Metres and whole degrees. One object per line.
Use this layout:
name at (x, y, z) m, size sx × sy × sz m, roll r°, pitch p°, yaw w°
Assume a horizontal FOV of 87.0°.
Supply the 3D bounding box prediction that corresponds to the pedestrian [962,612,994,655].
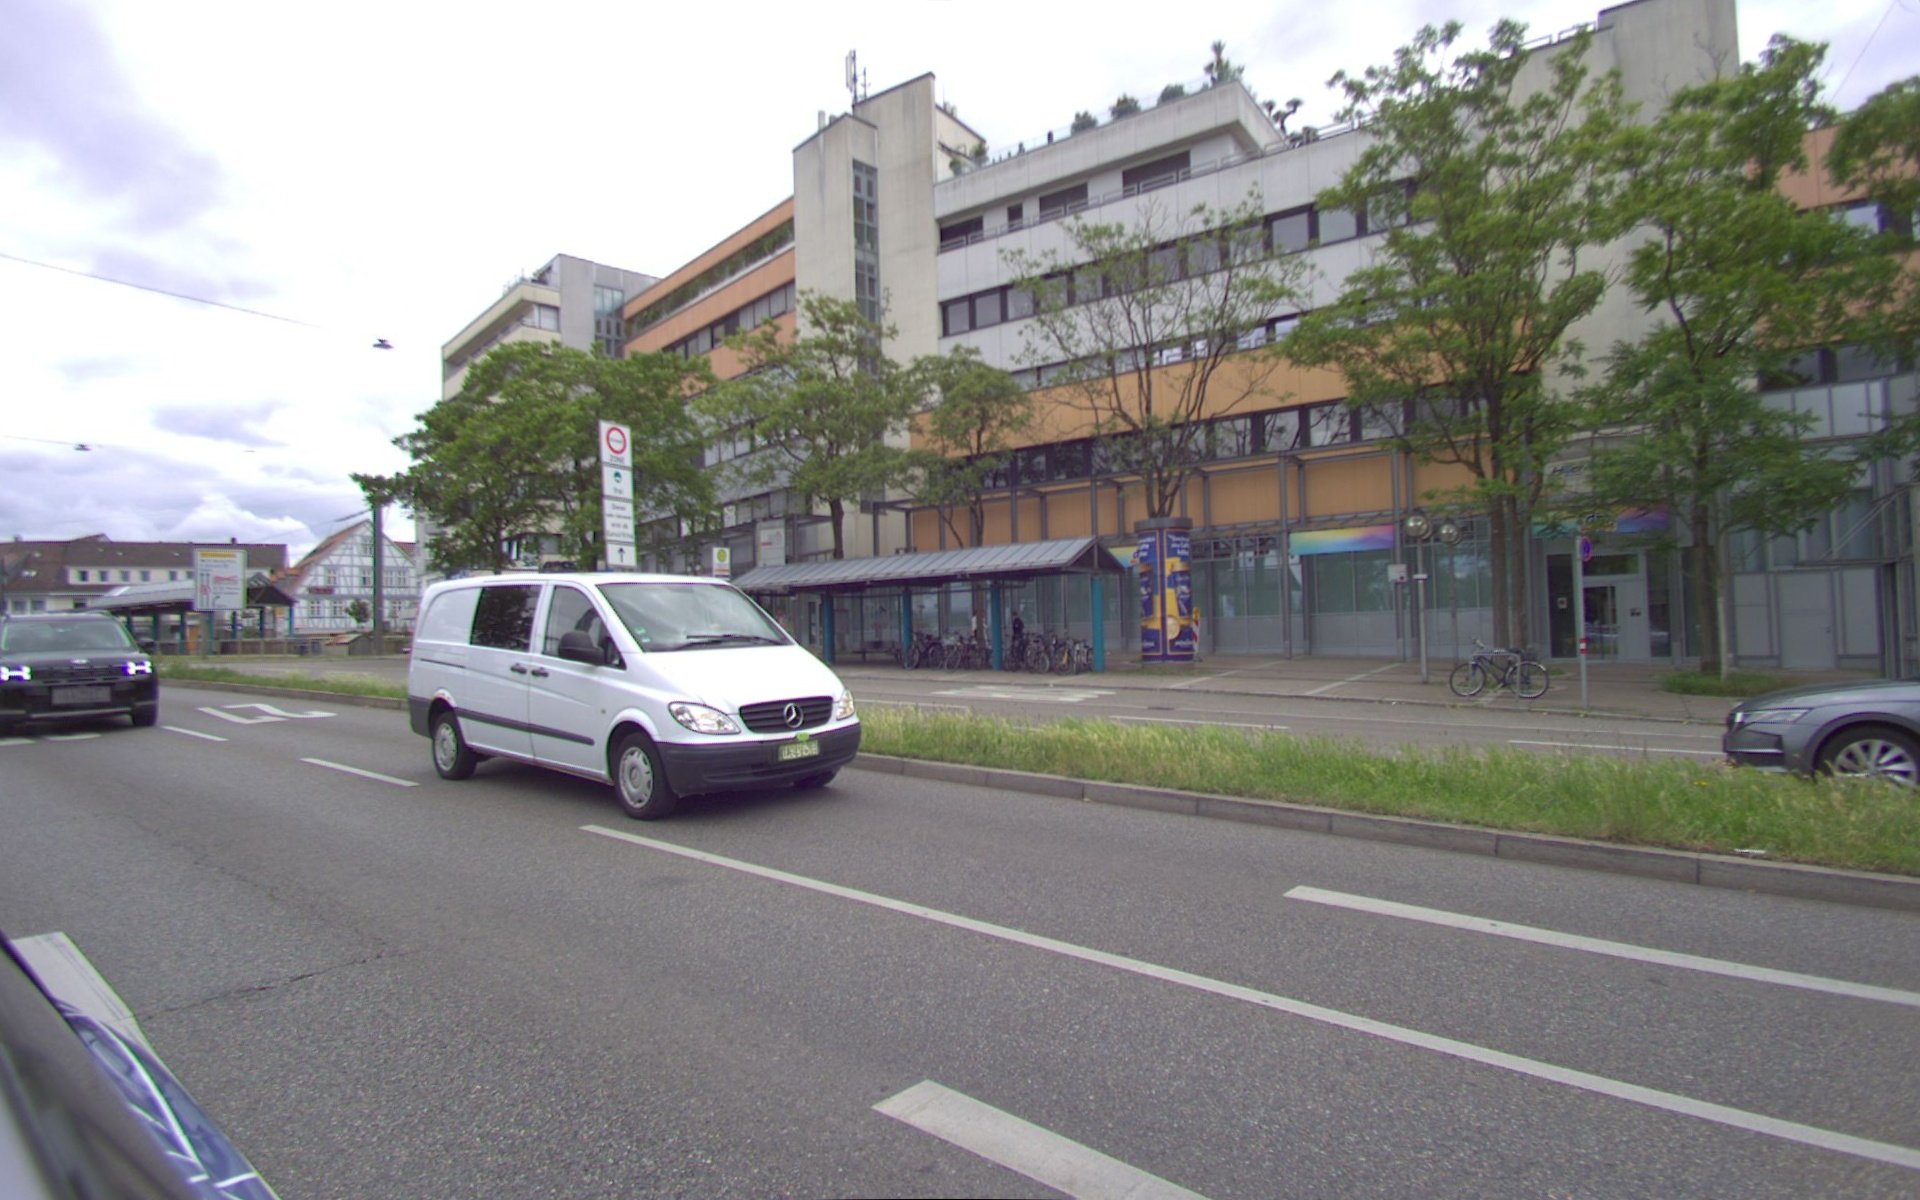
pedestrian at (0.714, 1.301, 39.267) m, size 0.995 × 1.630 × 0.726 m, roll -2°, pitch -2°, yaw 36°

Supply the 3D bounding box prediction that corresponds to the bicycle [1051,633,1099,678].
bicycle at (3.219, 1.520, 28.188) m, size 0.707 × 1.162 × 2.054 m, roll -1°, pitch -1°, yaw 24°

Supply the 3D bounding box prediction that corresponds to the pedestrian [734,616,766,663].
pedestrian at (-8.182, 1.528, 39.405) m, size 0.995 × 1.795 × 0.726 m, roll -2°, pitch -2°, yaw 36°

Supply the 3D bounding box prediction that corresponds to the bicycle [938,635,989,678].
bicycle at (0.118, 1.638, 29.707) m, size 0.707 × 1.162 × 2.054 m, roll -1°, pitch -1°, yaw 24°

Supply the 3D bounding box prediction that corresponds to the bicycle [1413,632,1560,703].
bicycle at (10.313, 1.288, 19.863) m, size 2.420 × 1.280 × 1.042 m, roll -2°, pitch 0°, yaw 37°

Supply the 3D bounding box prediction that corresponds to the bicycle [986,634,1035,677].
bicycle at (1.471, 1.579, 29.238) m, size 0.707 × 1.162 × 2.054 m, roll -1°, pitch -2°, yaw 24°

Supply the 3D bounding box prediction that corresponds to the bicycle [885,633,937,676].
bicycle at (-1.498, 1.655, 31.139) m, size 0.707 × 1.162 × 2.055 m, roll -1°, pitch 1°, yaw 24°

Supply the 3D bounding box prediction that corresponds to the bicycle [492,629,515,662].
bicycle at (-18.426, 1.825, 40.850) m, size 0.616 × 1.263 × 1.689 m, roll 0°, pitch -2°, yaw -17°

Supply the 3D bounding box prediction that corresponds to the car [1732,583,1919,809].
car at (8.348, 0.672, 7.151) m, size 4.507 × 1.586 × 1.975 m, roll -1°, pitch -2°, yaw 36°

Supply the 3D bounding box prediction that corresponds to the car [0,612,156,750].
car at (-13.864, 1.103, 15.466) m, size 4.680 × 1.764 × 1.901 m, roll -1°, pitch 1°, yaw 45°

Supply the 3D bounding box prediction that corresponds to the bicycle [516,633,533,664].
bicycle at (-18.390, 2.039, 42.734) m, size 0.425 × 1.263 × 1.474 m, roll 0°, pitch -2°, yaw -14°

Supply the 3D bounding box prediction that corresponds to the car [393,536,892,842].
car at (-3.086, 0.654, 9.092) m, size 5.072 × 2.029 × 1.854 m, roll -2°, pitch -1°, yaw 40°

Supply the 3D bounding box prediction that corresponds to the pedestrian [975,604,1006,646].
pedestrian at (1.205, 0.997, 39.925) m, size 0.995 × 1.630 × 0.726 m, roll -2°, pitch -2°, yaw 36°

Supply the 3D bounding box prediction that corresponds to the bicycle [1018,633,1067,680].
bicycle at (2.368, 1.578, 28.664) m, size 0.707 × 1.162 × 2.055 m, roll -1°, pitch 2°, yaw 24°

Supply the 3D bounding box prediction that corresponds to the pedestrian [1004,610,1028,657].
pedestrian at (2.010, 1.209, 36.194) m, size 0.675 × 1.656 × 0.526 m, roll -2°, pitch -3°, yaw 41°

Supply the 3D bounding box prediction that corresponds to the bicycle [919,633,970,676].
bicycle at (-0.453, 1.633, 30.652) m, size 0.707 × 1.162 × 2.055 m, roll -1°, pitch 0°, yaw 24°
